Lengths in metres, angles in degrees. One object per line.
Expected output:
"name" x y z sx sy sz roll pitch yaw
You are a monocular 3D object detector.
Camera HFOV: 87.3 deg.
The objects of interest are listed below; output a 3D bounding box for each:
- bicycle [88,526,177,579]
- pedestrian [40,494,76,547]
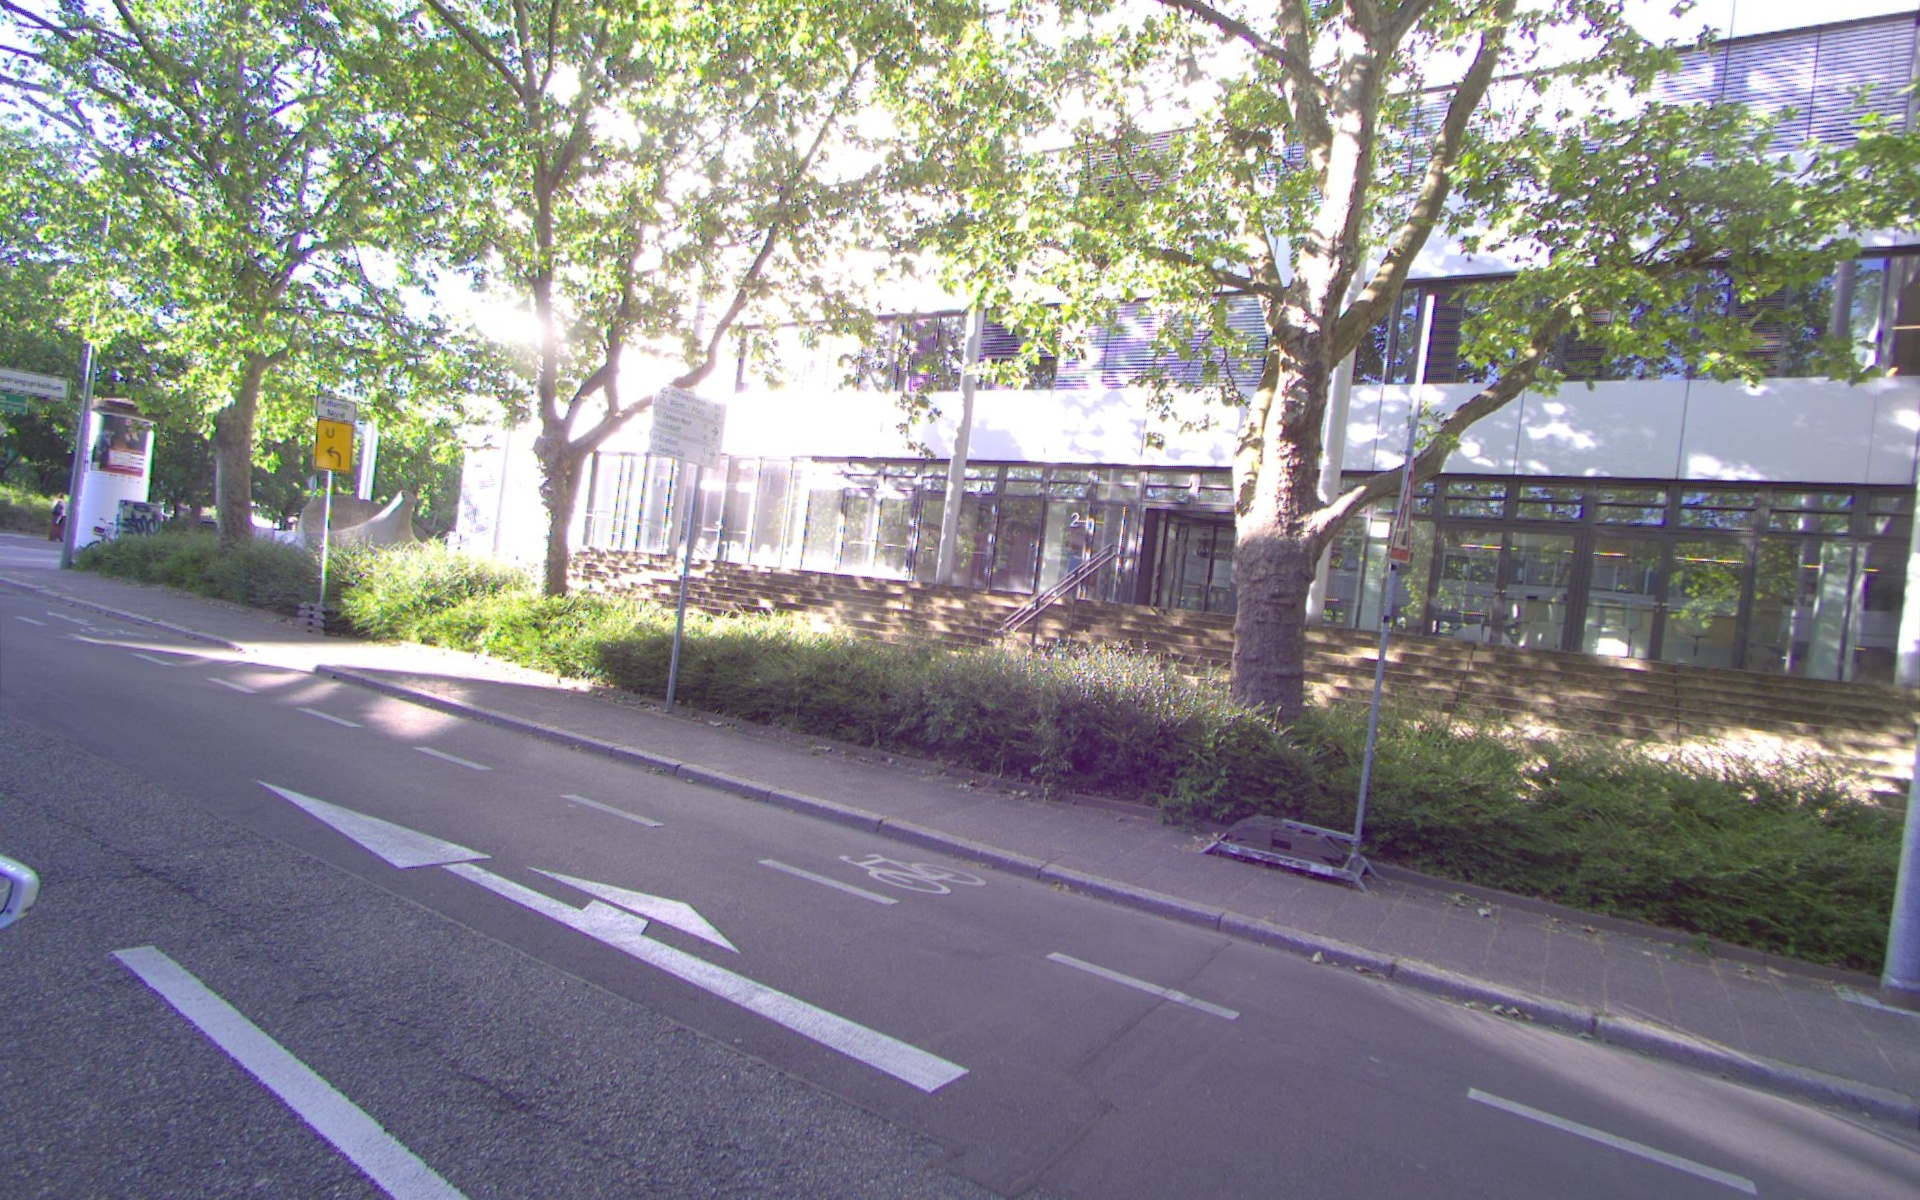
"bicycle" -19.052 -1.077 23.186 0.295 0.991 1.484 6 -2 37
"pedestrian" -32.780 -2.886 36.557 0.672 1.793 0.613 8 -1 -29
